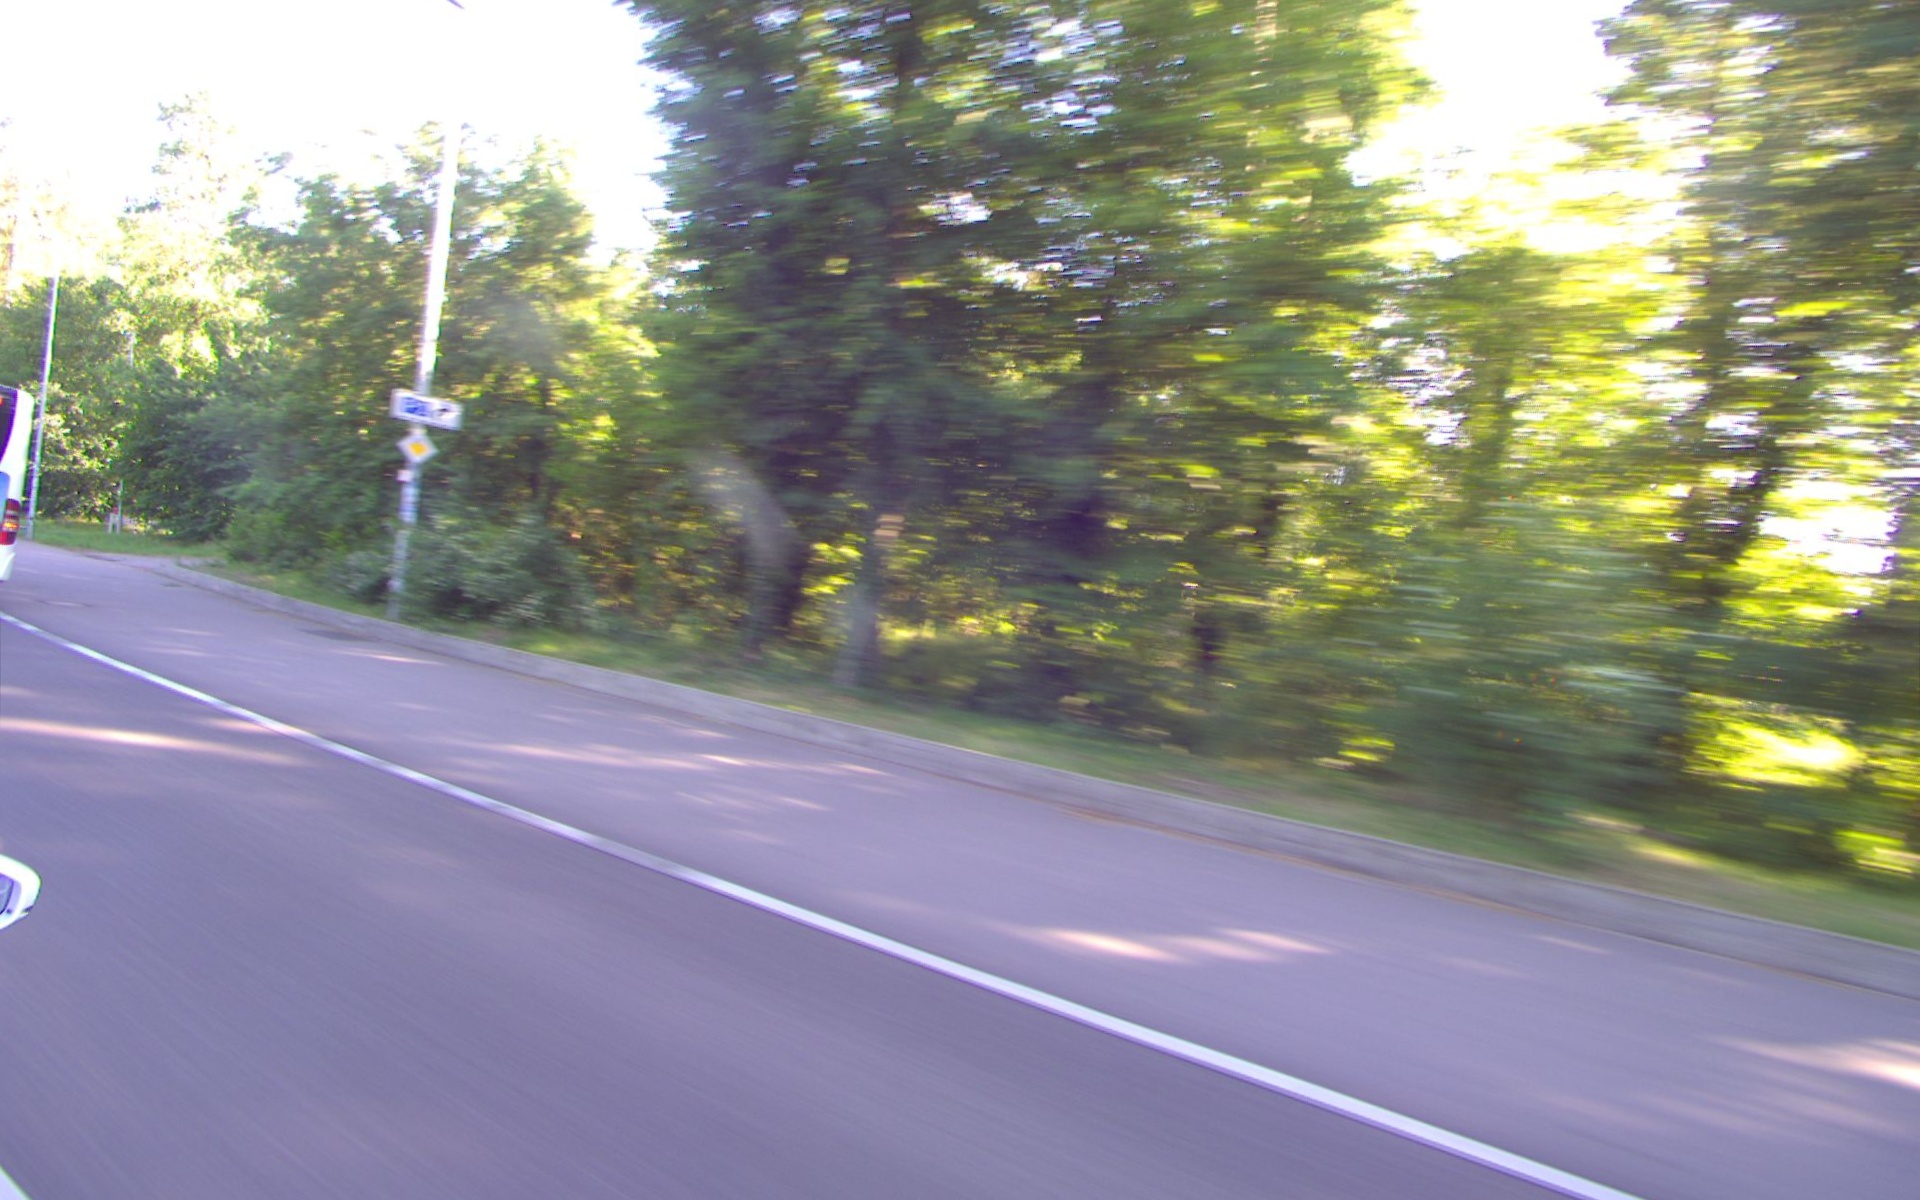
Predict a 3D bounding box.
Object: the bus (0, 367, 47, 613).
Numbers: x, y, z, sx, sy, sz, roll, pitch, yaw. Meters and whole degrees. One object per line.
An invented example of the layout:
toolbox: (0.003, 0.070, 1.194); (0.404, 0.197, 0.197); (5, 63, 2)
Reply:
bus: (-17.499, -2.004, 15.448); (11.856, 3.078, 2.691); (6, -1, 37)
